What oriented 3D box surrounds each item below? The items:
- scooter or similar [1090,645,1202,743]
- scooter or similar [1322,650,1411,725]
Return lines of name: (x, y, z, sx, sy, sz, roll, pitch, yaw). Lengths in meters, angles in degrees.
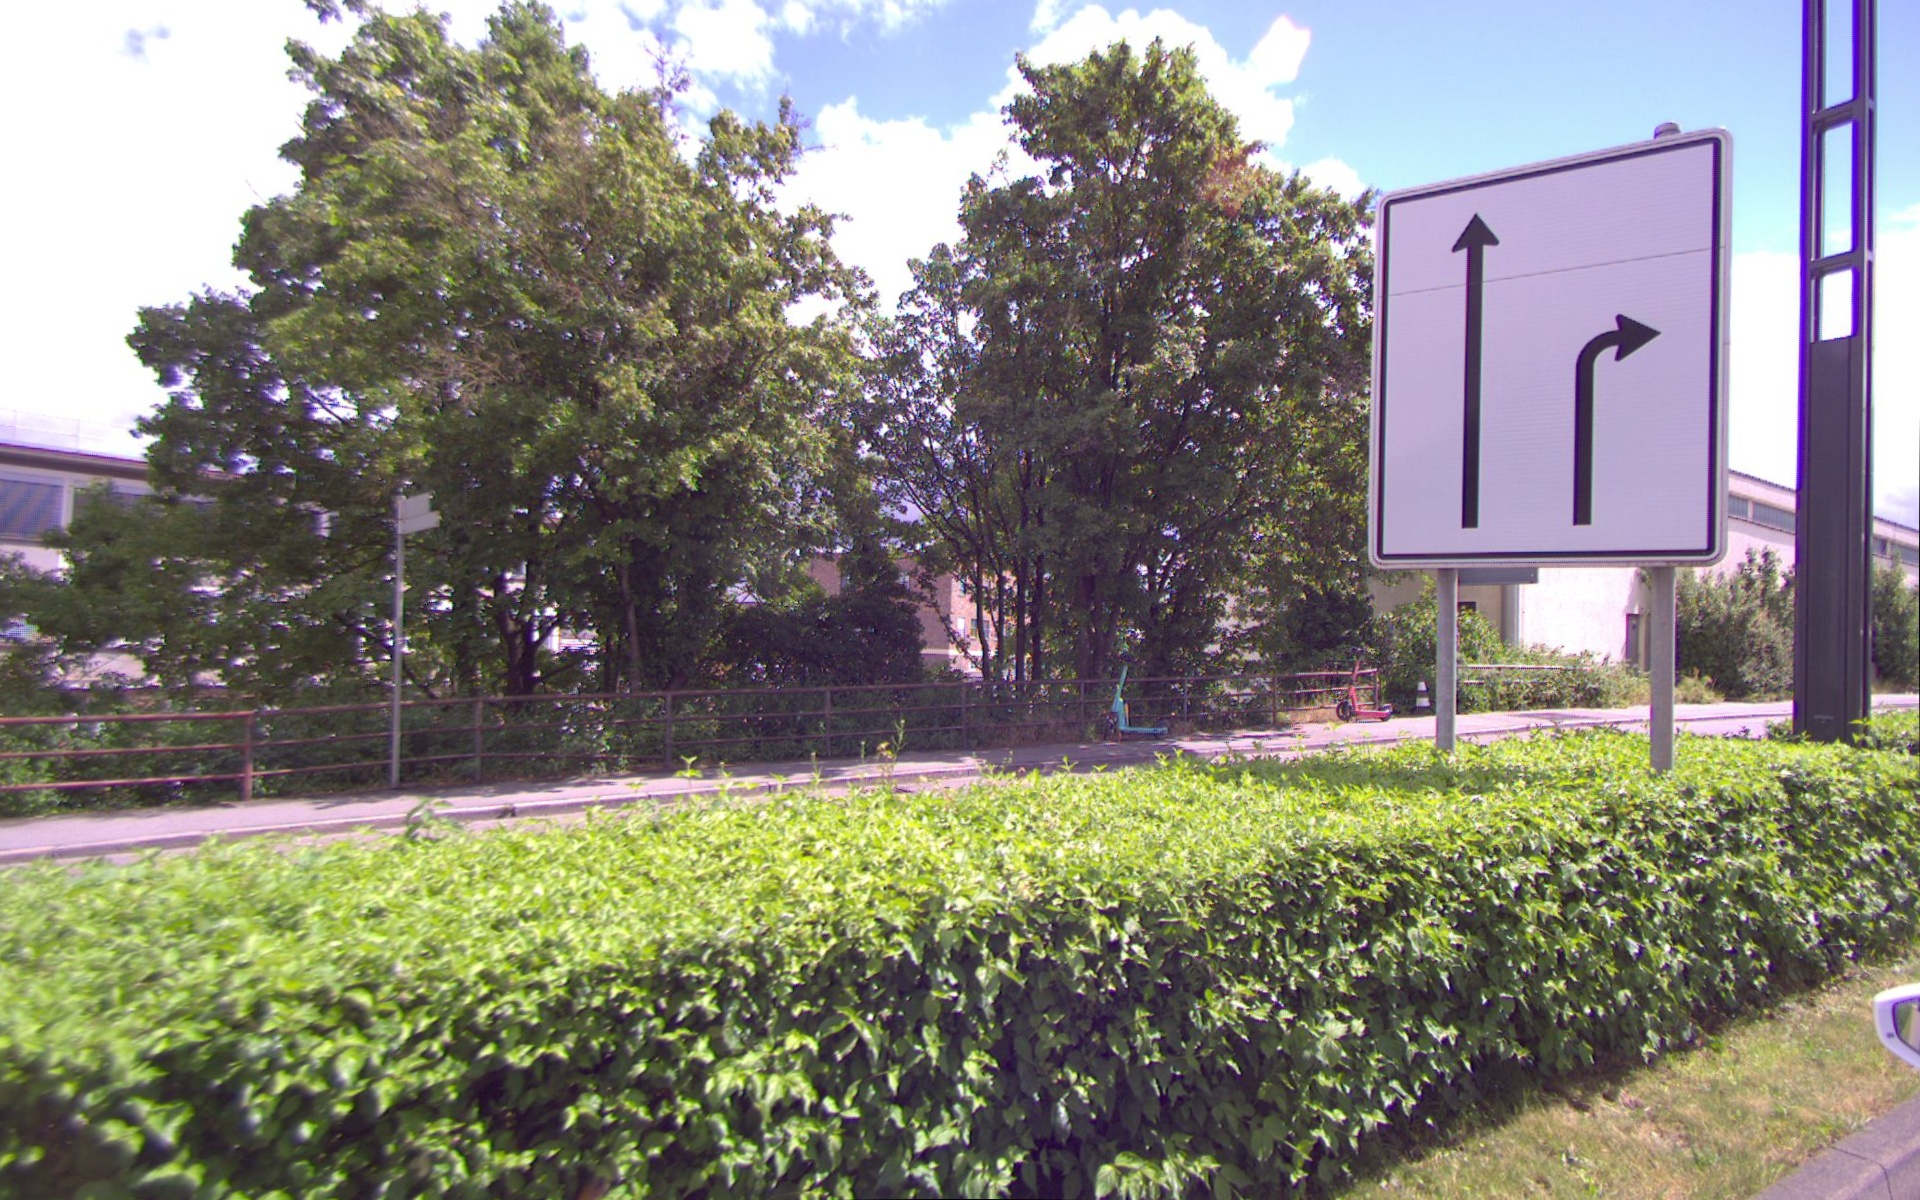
scooter or similar: (2.672, 1.317, 14.376, 1.622, 1.322, 0.489, 1, 0, -28)
scooter or similar: (7.034, 1.496, 17.362, 1.622, 1.232, 0.489, 1, -2, -28)
